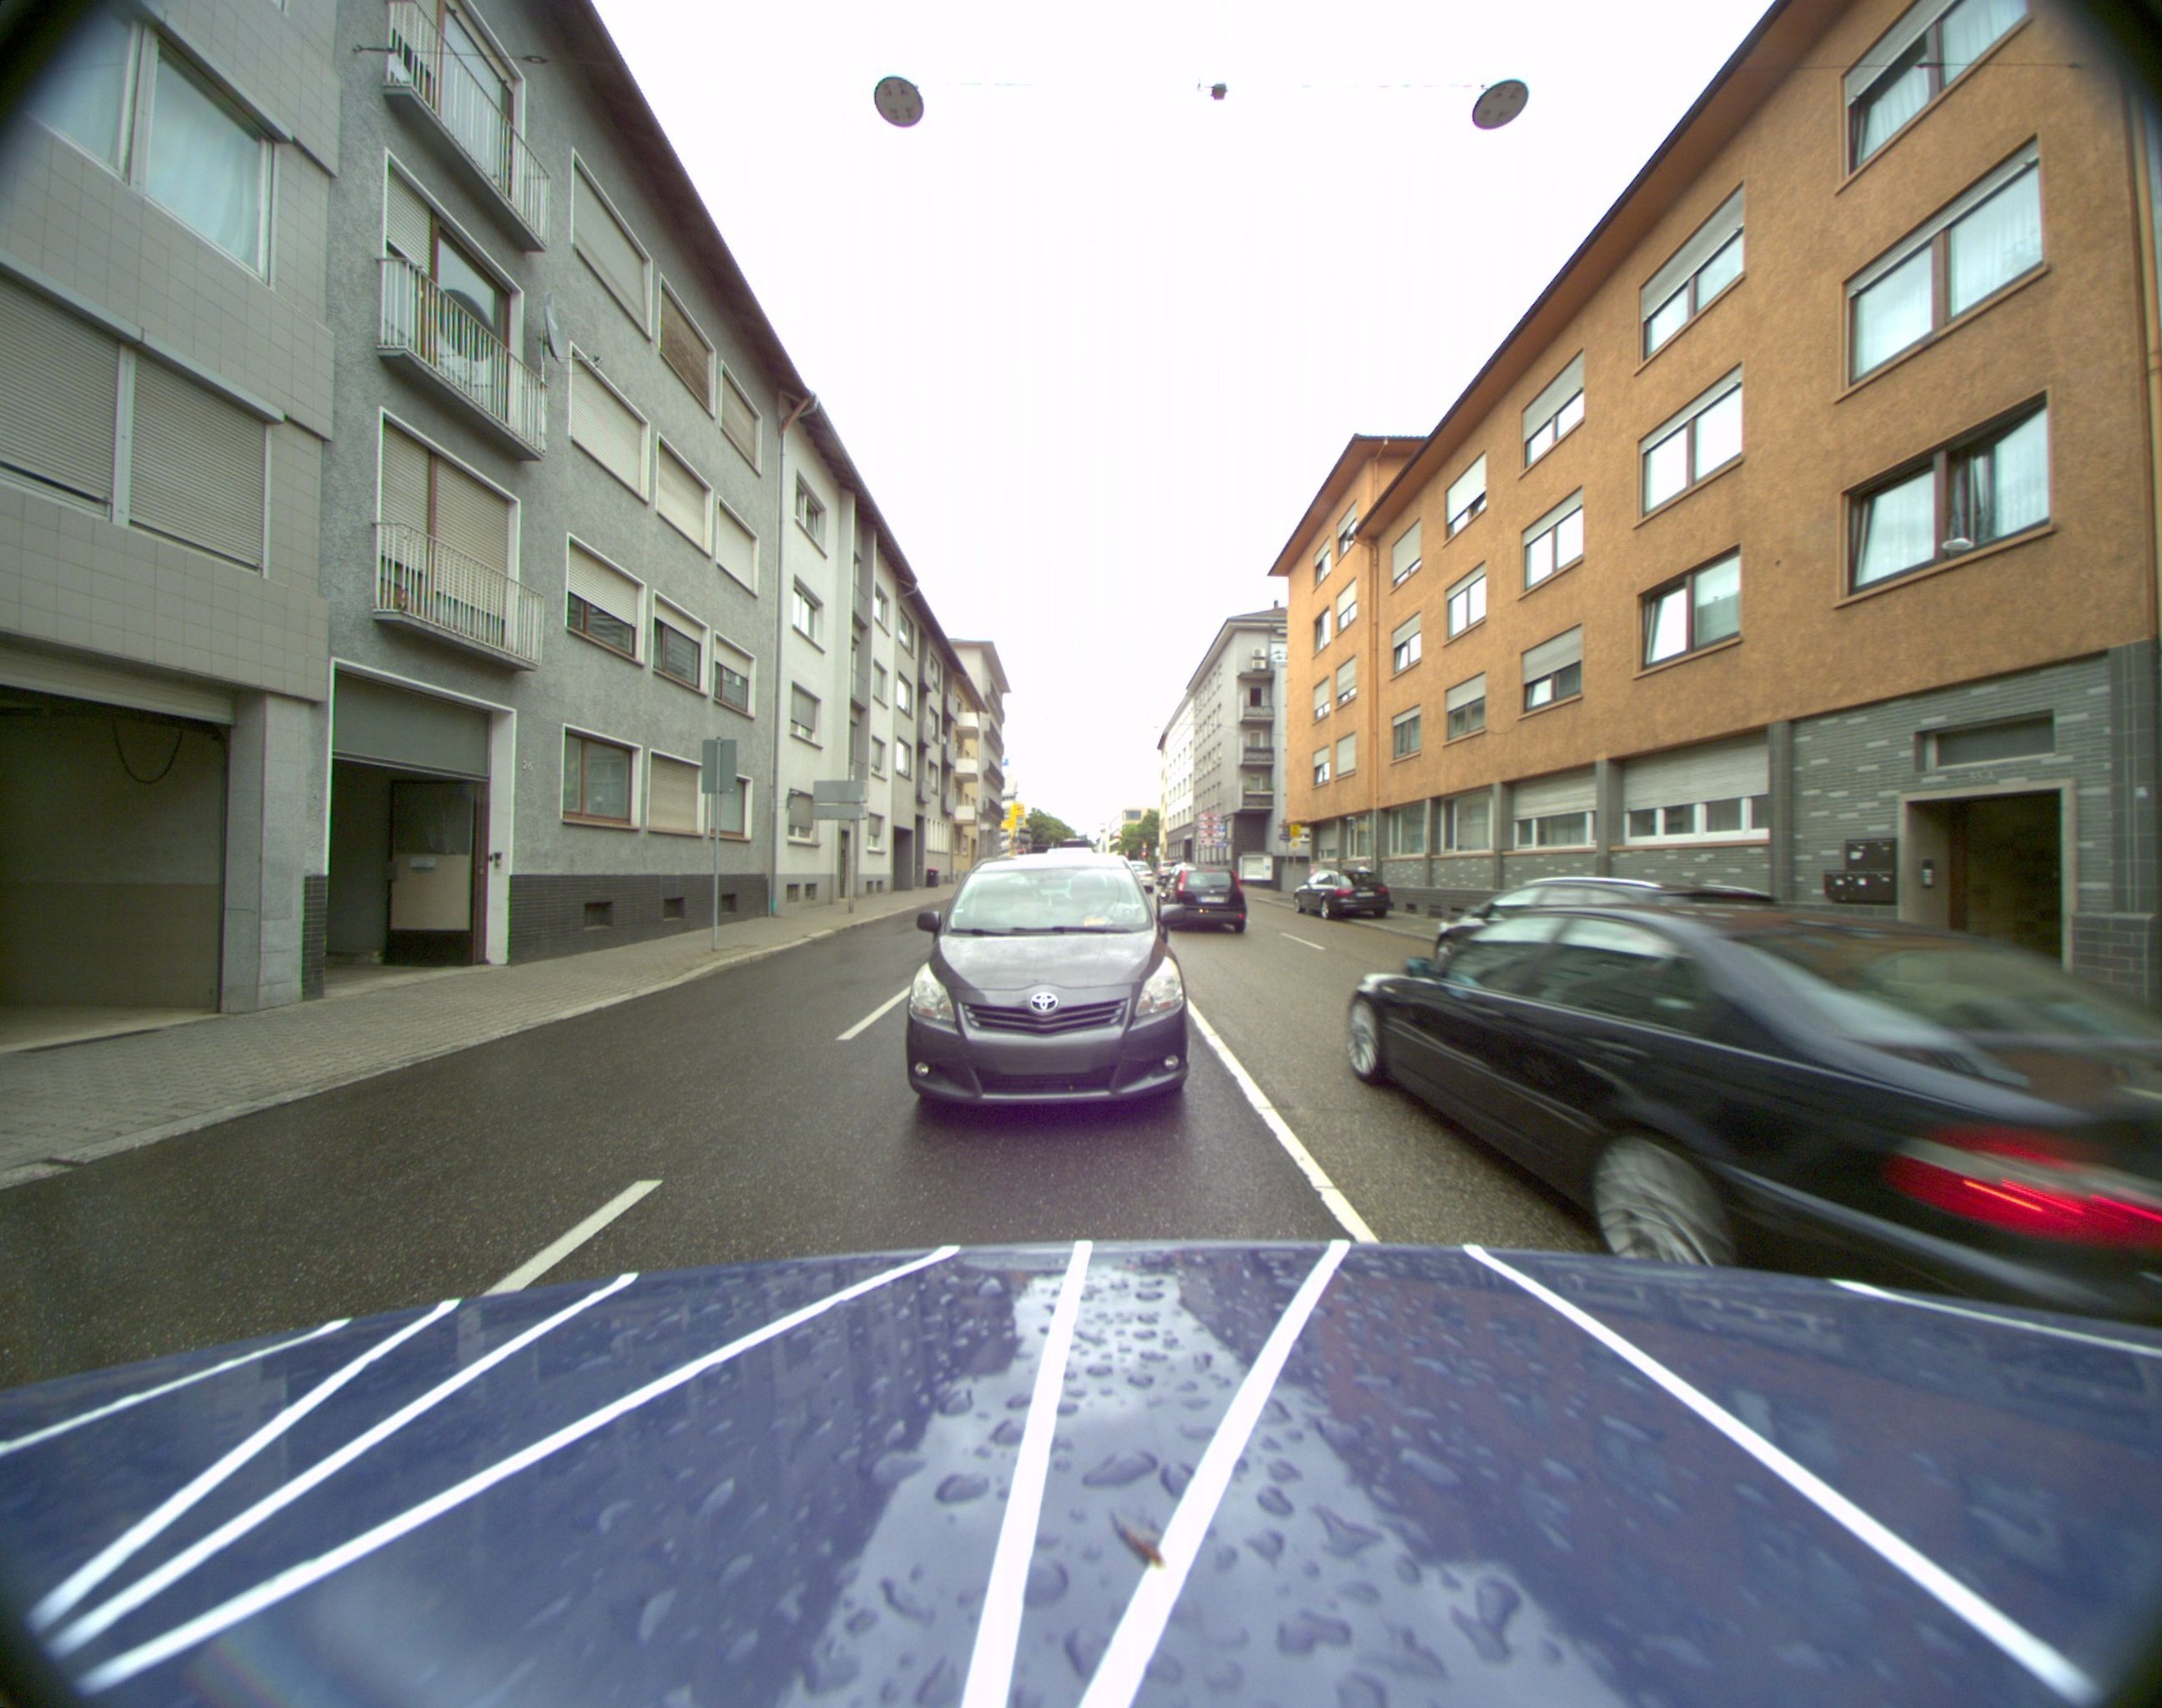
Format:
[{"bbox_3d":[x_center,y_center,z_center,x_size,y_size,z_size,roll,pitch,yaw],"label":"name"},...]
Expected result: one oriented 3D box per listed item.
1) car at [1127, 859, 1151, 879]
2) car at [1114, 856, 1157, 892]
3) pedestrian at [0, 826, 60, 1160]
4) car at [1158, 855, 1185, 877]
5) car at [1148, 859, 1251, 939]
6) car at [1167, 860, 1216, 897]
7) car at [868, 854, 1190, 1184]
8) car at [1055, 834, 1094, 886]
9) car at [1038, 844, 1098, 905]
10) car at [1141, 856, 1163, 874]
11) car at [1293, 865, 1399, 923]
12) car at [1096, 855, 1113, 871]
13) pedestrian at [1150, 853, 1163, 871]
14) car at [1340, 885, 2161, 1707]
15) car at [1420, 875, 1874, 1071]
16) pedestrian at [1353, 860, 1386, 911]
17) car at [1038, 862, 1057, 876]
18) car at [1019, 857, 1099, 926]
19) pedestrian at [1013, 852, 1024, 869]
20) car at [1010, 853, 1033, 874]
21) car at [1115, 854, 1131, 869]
[{"bbox_3d":[5.450,1.380,71.672,1.856,1.651,4.610,-2,1,1],"label":"car"},{"bbox_3d":[2.610,0.917,37.120,1.749,1.530,4.052,2,1,-1],"label":"car"},{"bbox_3d":[-6.424,0.761,3.864,0.871,1.855,1.120,4,1,1],"label":"pedestrian"},{"bbox_3d":[7.812,1.008,65.766,1.856,1.712,4.217,-2,1,1],"label":"car"},{"bbox_3d":[2.633,0.938,17.801,1.622,1.530,4.216,2,1,-1],"label":"car"},{"bbox_3d":[5.482,1.199,38.293,1.699,1.530,4.435,4,1,0],"label":"car"},{"bbox_3d":[-0.253,0.907,6.266,1.699,1.712,4.217,-2,1,1],"label":"car"},{"bbox_3d":[-0.334,0.307,43.658,2.033,2.731,4.368,-2,1,1],"label":"car"},{"bbox_3d":[-0.398,0.644,26.615,1.856,1.882,4.217,-2,1,1],"label":"car"},{"bbox_3d":[7.252,1.080,77.690,1.856,1.712,4.217,-2,1,1],"label":"car"},{"bbox_3d":[8.041,1.157,23.474,1.799,1.466,4.217,-2,1,1],"label":"car"},{"bbox_3d":[2.839,1.080,92.800,1.856,1.712,4.217,-2,1,1],"label":"car"},{"bbox_3d":[8.593,0.883,86.566,1.309,2.002,1.258,-2,1,1],"label":"pedestrian"},{"bbox_3d":[2.762,0.977,3.527,1.699,1.362,4.217,2,1,1],"label":"car"},{"bbox_3d":[5.682,1.051,8.503,1.727,1.464,4.373,2,0,-1],"label":"car"},{"bbox_3d":[9.665,1.053,25.492,0.768,1.630,1.023,-2,1,5],"label":"pedestrian"},{"bbox_3d":[-3.738,1.607,84.823,1.856,1.369,4.217,-2,1,1],"label":"car"},{"bbox_3d":[-0.507,0.900,20.109,1.856,1.524,3.792,-2,1,1],"label":"car"},{"bbox_3d":[-6.689,0.708,81.778,1.119,1.741,0.961,1,1,-5],"label":"pedestrian"},{"bbox_3d":[-5.134,0.800,65.900,1.856,1.663,4.215,-2,1,-4],"label":"car"},{"bbox_3d":[5.348,0.934,97.378,1.856,1.712,4.217,-2,1,1],"label":"car"}]
